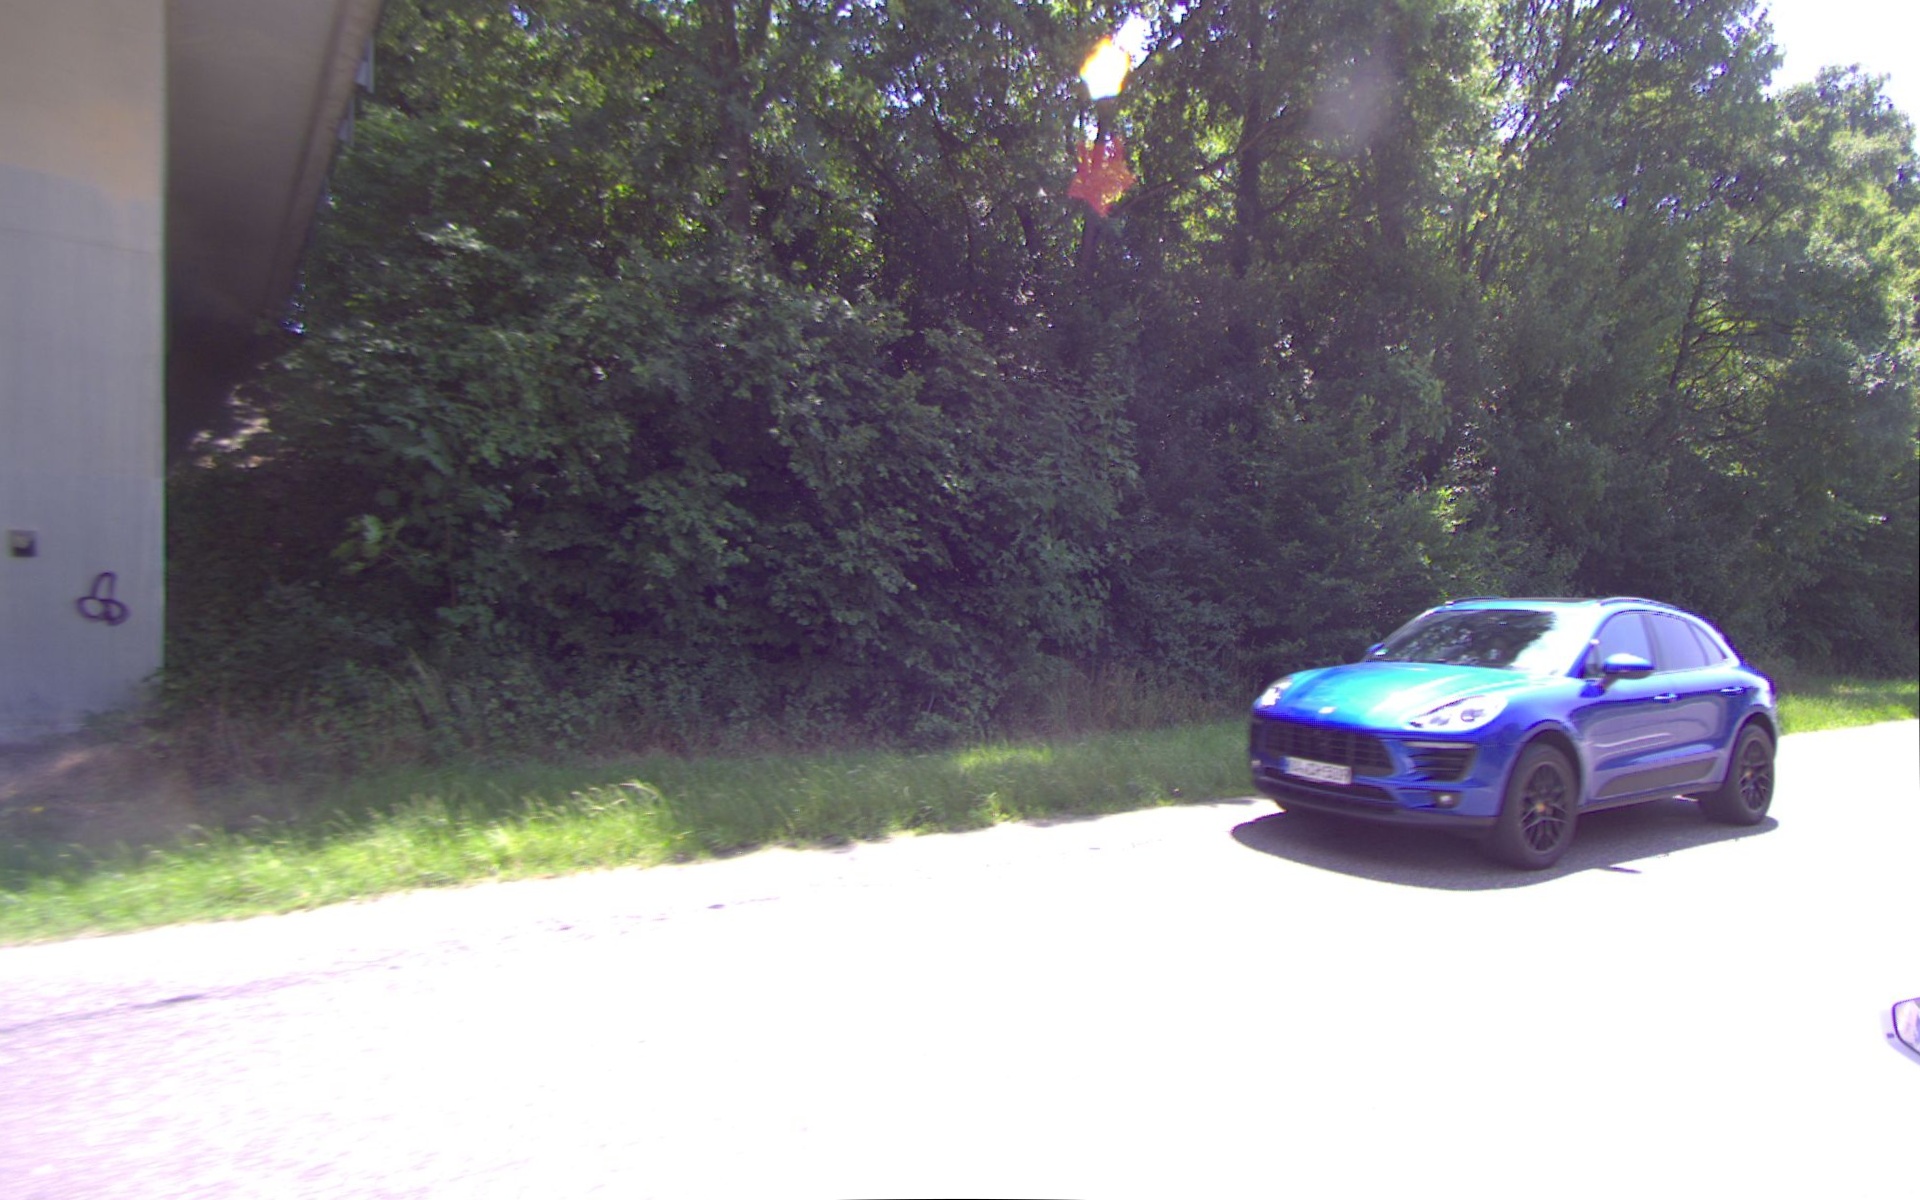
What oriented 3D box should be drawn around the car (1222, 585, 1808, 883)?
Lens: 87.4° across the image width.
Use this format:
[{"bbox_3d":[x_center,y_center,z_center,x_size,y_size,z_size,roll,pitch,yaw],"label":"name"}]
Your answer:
[{"bbox_3d":[4.163,0.772,7.354,4.368,1.611,1.814,1,-1,-31],"label":"car"}]
